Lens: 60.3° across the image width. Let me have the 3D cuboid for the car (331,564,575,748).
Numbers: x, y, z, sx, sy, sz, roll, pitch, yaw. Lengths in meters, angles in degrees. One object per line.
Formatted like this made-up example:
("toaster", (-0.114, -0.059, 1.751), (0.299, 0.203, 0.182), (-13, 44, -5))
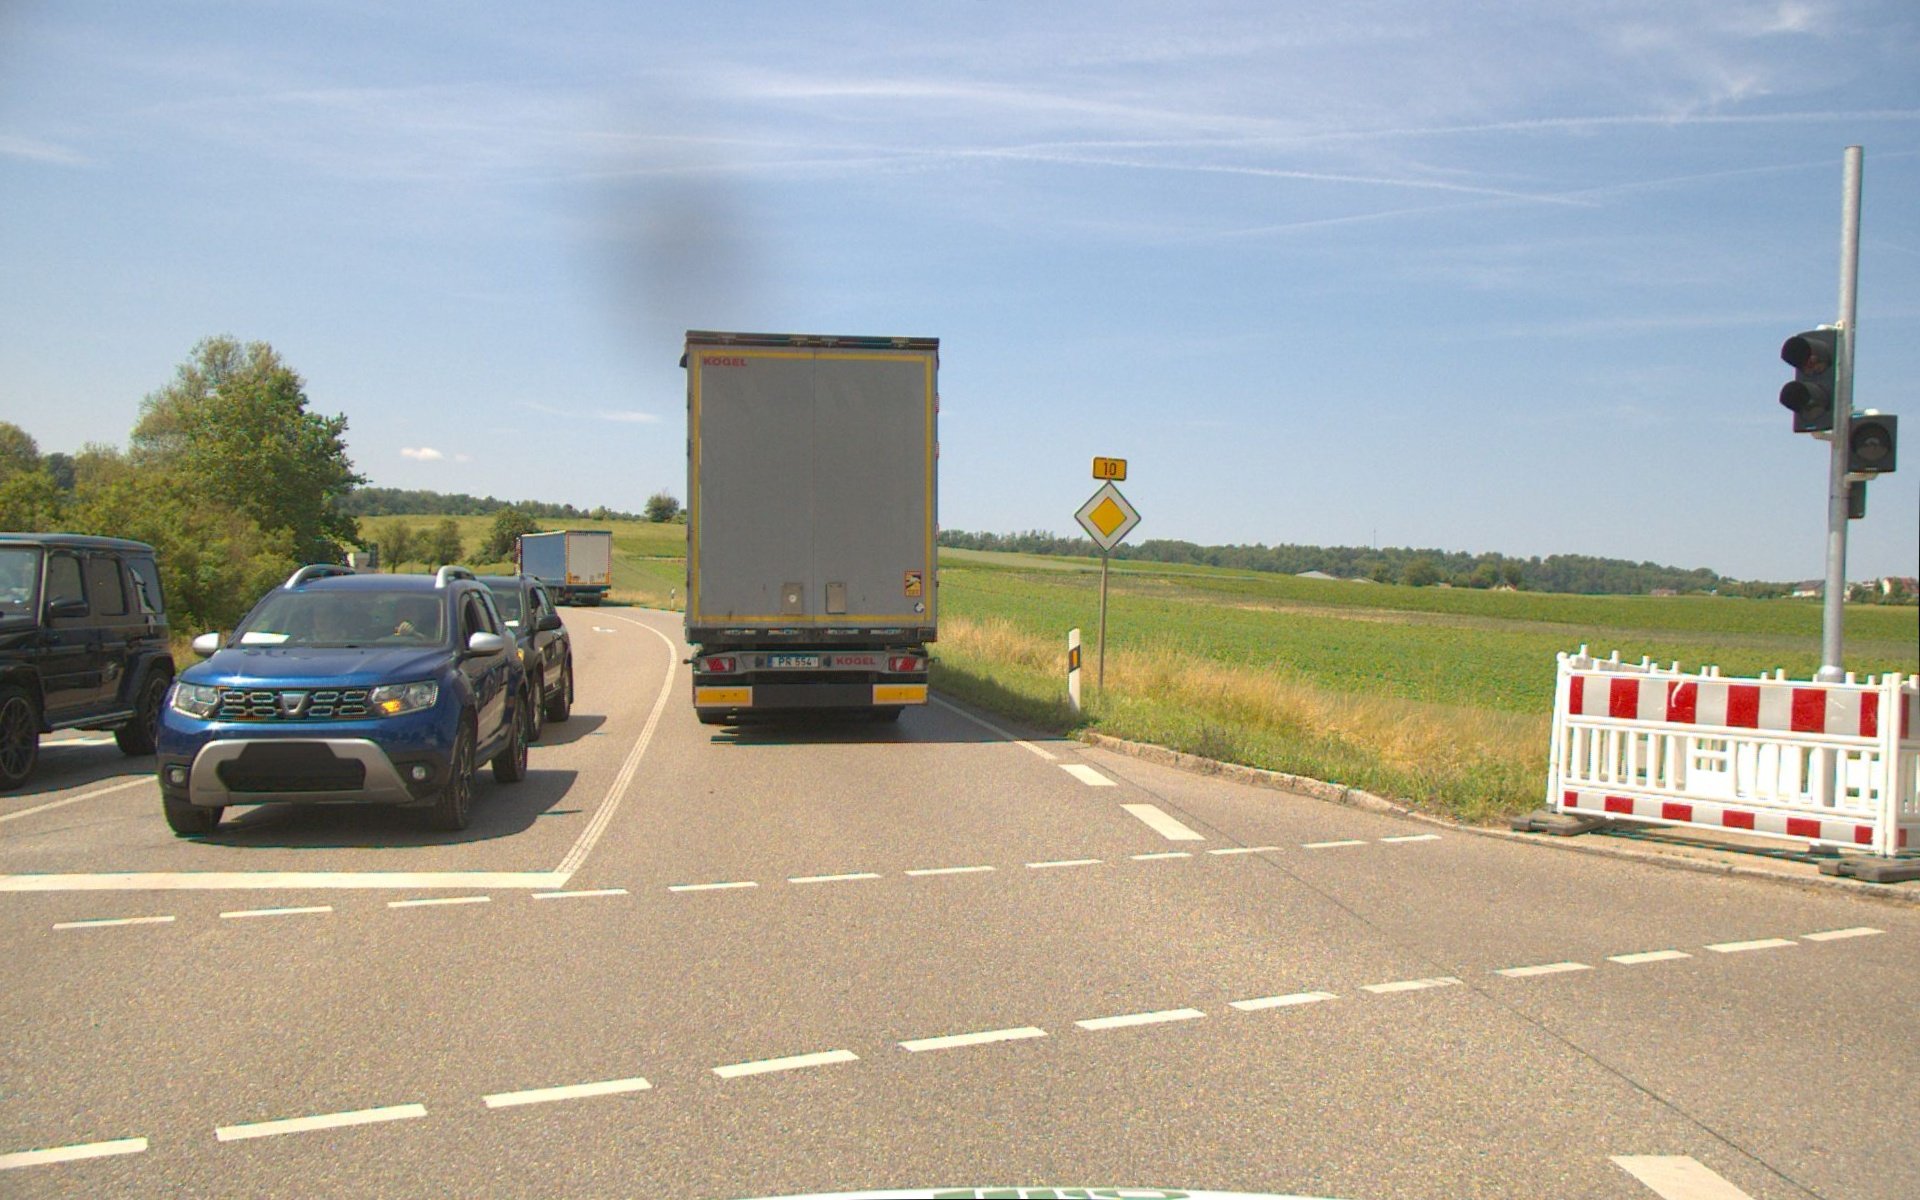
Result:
("car", (-5.125, 0.521, 17.229), (1.737, 1.687, 3.994), (0, 0, -7))

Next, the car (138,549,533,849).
("car", (-4.054, 0.562, 11.406), (1.738, 1.687, 3.992), (0, 0, -9))

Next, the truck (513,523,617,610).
("truck", (-23.353, -1.902, 96.915), (2.922, 4.664, 16.192), (1, 0, -24))

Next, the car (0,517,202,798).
("car", (-8.265, 0.409, 14.006), (1.957, 2.041, 5.154), (1, 0, -9))

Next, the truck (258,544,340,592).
("truck", (-65.550, -3.097, 163.678), (3.508, 4.315, 13.210), (3, -2, -40))

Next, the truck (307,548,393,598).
("truck", (-55.746, -2.383, 150.833), (3.611, 4.202, 12.920), (2, -2, -38))

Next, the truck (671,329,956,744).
("truck", (-2.017, -0.644, 20.947), (2.755, 4.015, 9.575), (0, 0, -7))
